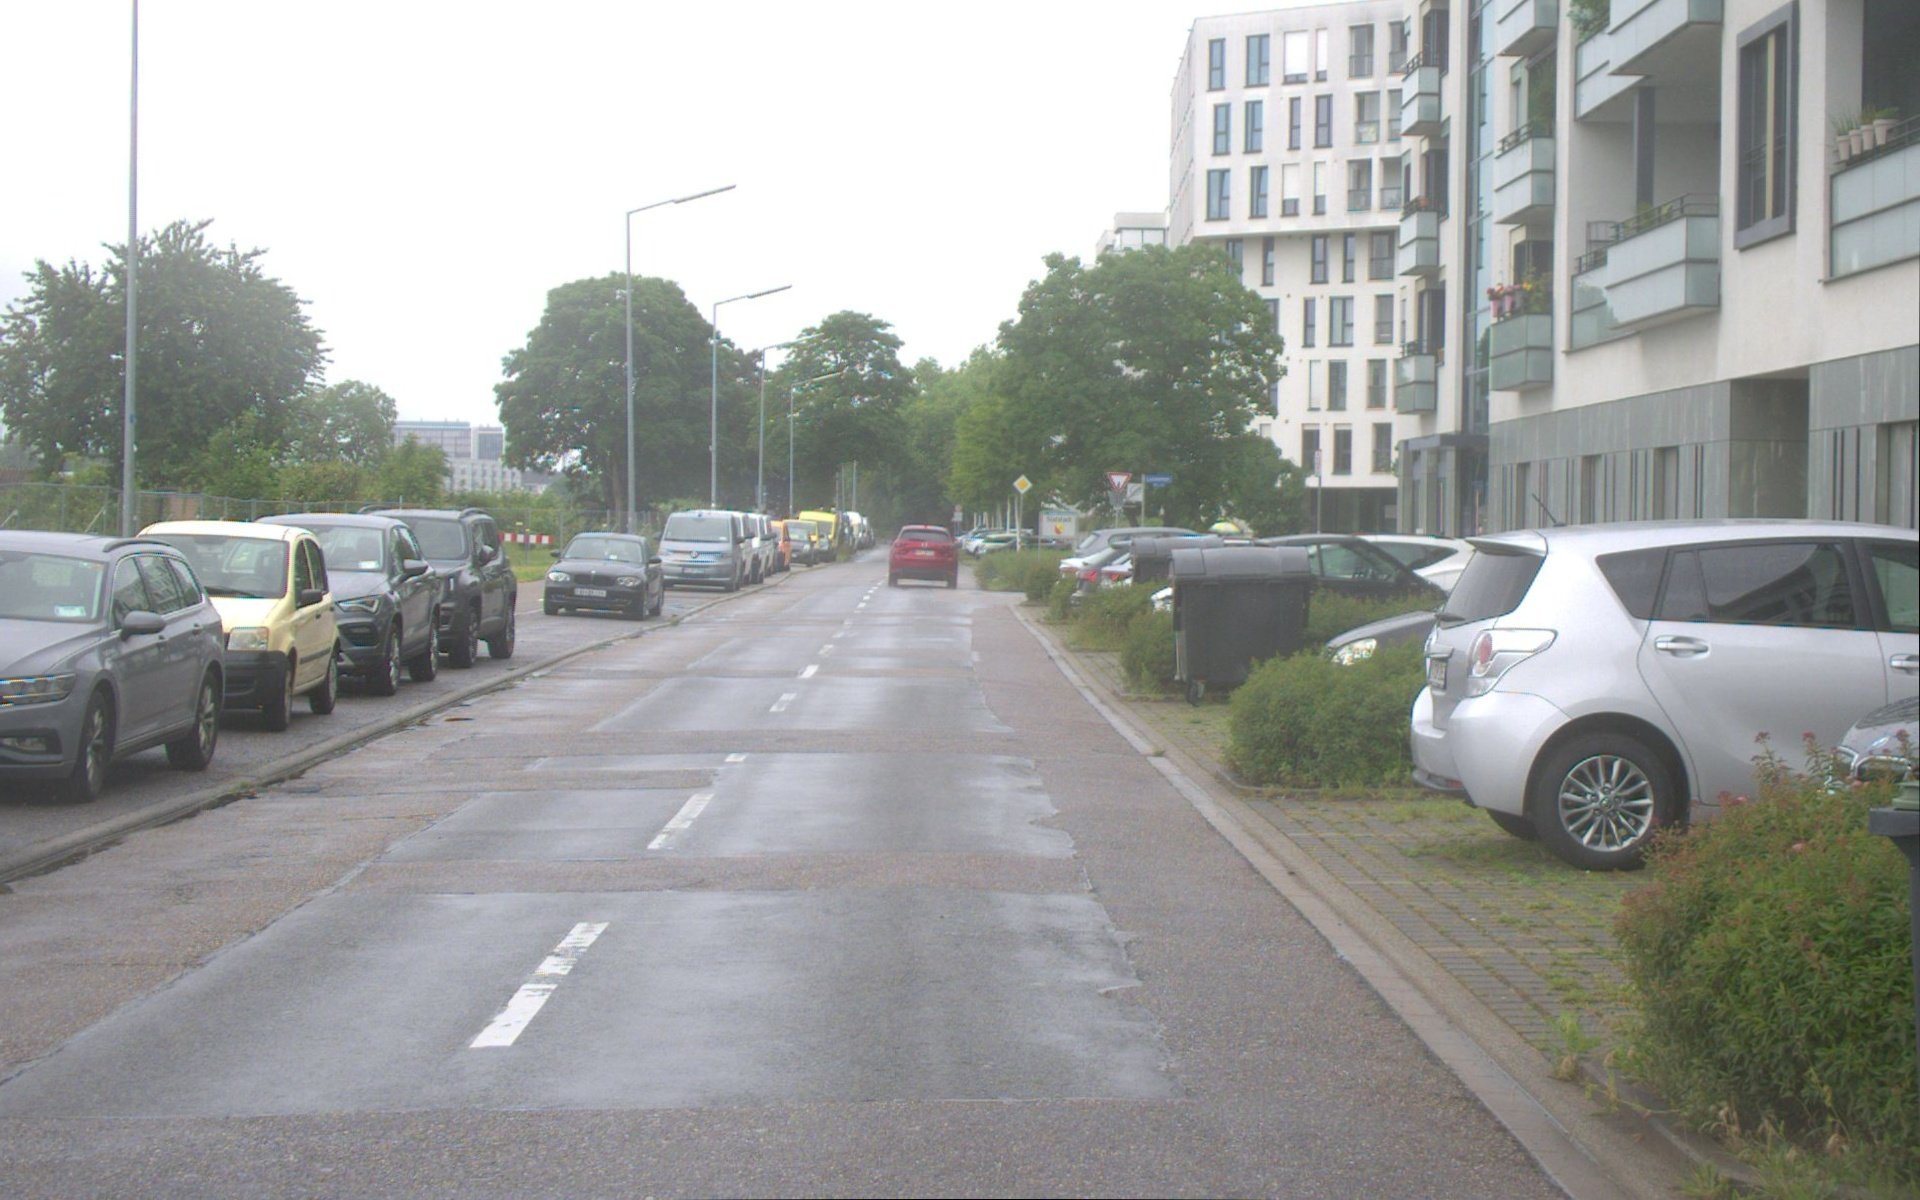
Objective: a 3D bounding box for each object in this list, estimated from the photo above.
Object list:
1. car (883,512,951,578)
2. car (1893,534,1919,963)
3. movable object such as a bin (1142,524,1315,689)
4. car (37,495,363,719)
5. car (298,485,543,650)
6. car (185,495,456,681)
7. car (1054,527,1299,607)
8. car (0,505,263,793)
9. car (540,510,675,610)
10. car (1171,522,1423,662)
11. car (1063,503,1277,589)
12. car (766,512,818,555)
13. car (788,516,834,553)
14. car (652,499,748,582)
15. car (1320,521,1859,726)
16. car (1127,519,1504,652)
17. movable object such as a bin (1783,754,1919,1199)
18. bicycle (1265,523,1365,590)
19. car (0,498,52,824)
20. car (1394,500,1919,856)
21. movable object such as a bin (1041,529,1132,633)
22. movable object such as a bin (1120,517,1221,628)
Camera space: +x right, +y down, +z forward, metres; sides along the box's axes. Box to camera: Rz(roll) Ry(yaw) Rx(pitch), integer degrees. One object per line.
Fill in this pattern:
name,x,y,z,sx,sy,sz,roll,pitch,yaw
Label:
car,-1.179,-1.508,92.535,1.756,1.700,4.001,1,1,-2
car,5.420,0.489,11.314,4.175,1.478,1.751,-1,1,-4
movable object such as a bin,2.505,0.048,32.246,1.495,1.488,1.156,-1,1,0
car,-5.861,0.019,26.968,1.725,1.569,4.211,2,1,-2
car,-5.950,-0.406,38.459,1.753,1.687,4.881,2,2,2
car,-5.903,-0.164,32.166,1.752,1.585,4.134,2,2,0
car,3.996,-0.625,64.036,4.409,1.400,1.911,-1,1,-1
car,-5.671,0.200,20.918,1.837,1.523,4.671,3,1,0
car,-6.076,-0.716,59.627,1.847,1.556,4.153,4,1,0
car,3.783,-0.105,38.777,2.623,1.501,1.208,-1,1,-6
car,4.177,-1.085,68.927,4.089,1.618,1.966,-1,1,-2
car,-6.704,-2.661,137.330,1.804,1.556,4.033,4,2,0
car,-7.006,-3.108,162.457,1.993,1.588,5.018,4,1,-2
car,-6.319,-1.475,84.067,1.956,1.895,4.995,2,1,0
car,4.803,0.160,26.602,3.845,1.486,1.763,-1,2,1
car,4.268,-0.196,41.787,4.346,1.525,1.893,-1,1,-1
movable object such as a bin,2.263,0.885,7.336,0.816,1.043,0.539,2,2,38
bicycle,8.175,-1.015,79.193,2.190,1.517,0.630,1,1,20
car,-5.579,0.291,15.153,1.852,1.602,4.989,4,1,-2
car,4.363,0.365,16.881,4.207,1.638,1.687,1,1,-1
movable object such as a bin,1.881,-0.293,51.373,1.300,1.521,1.582,0,1,0
movable object such as a bin,2.949,-0.404,48.255,1.300,1.521,1.582,1,1,0
